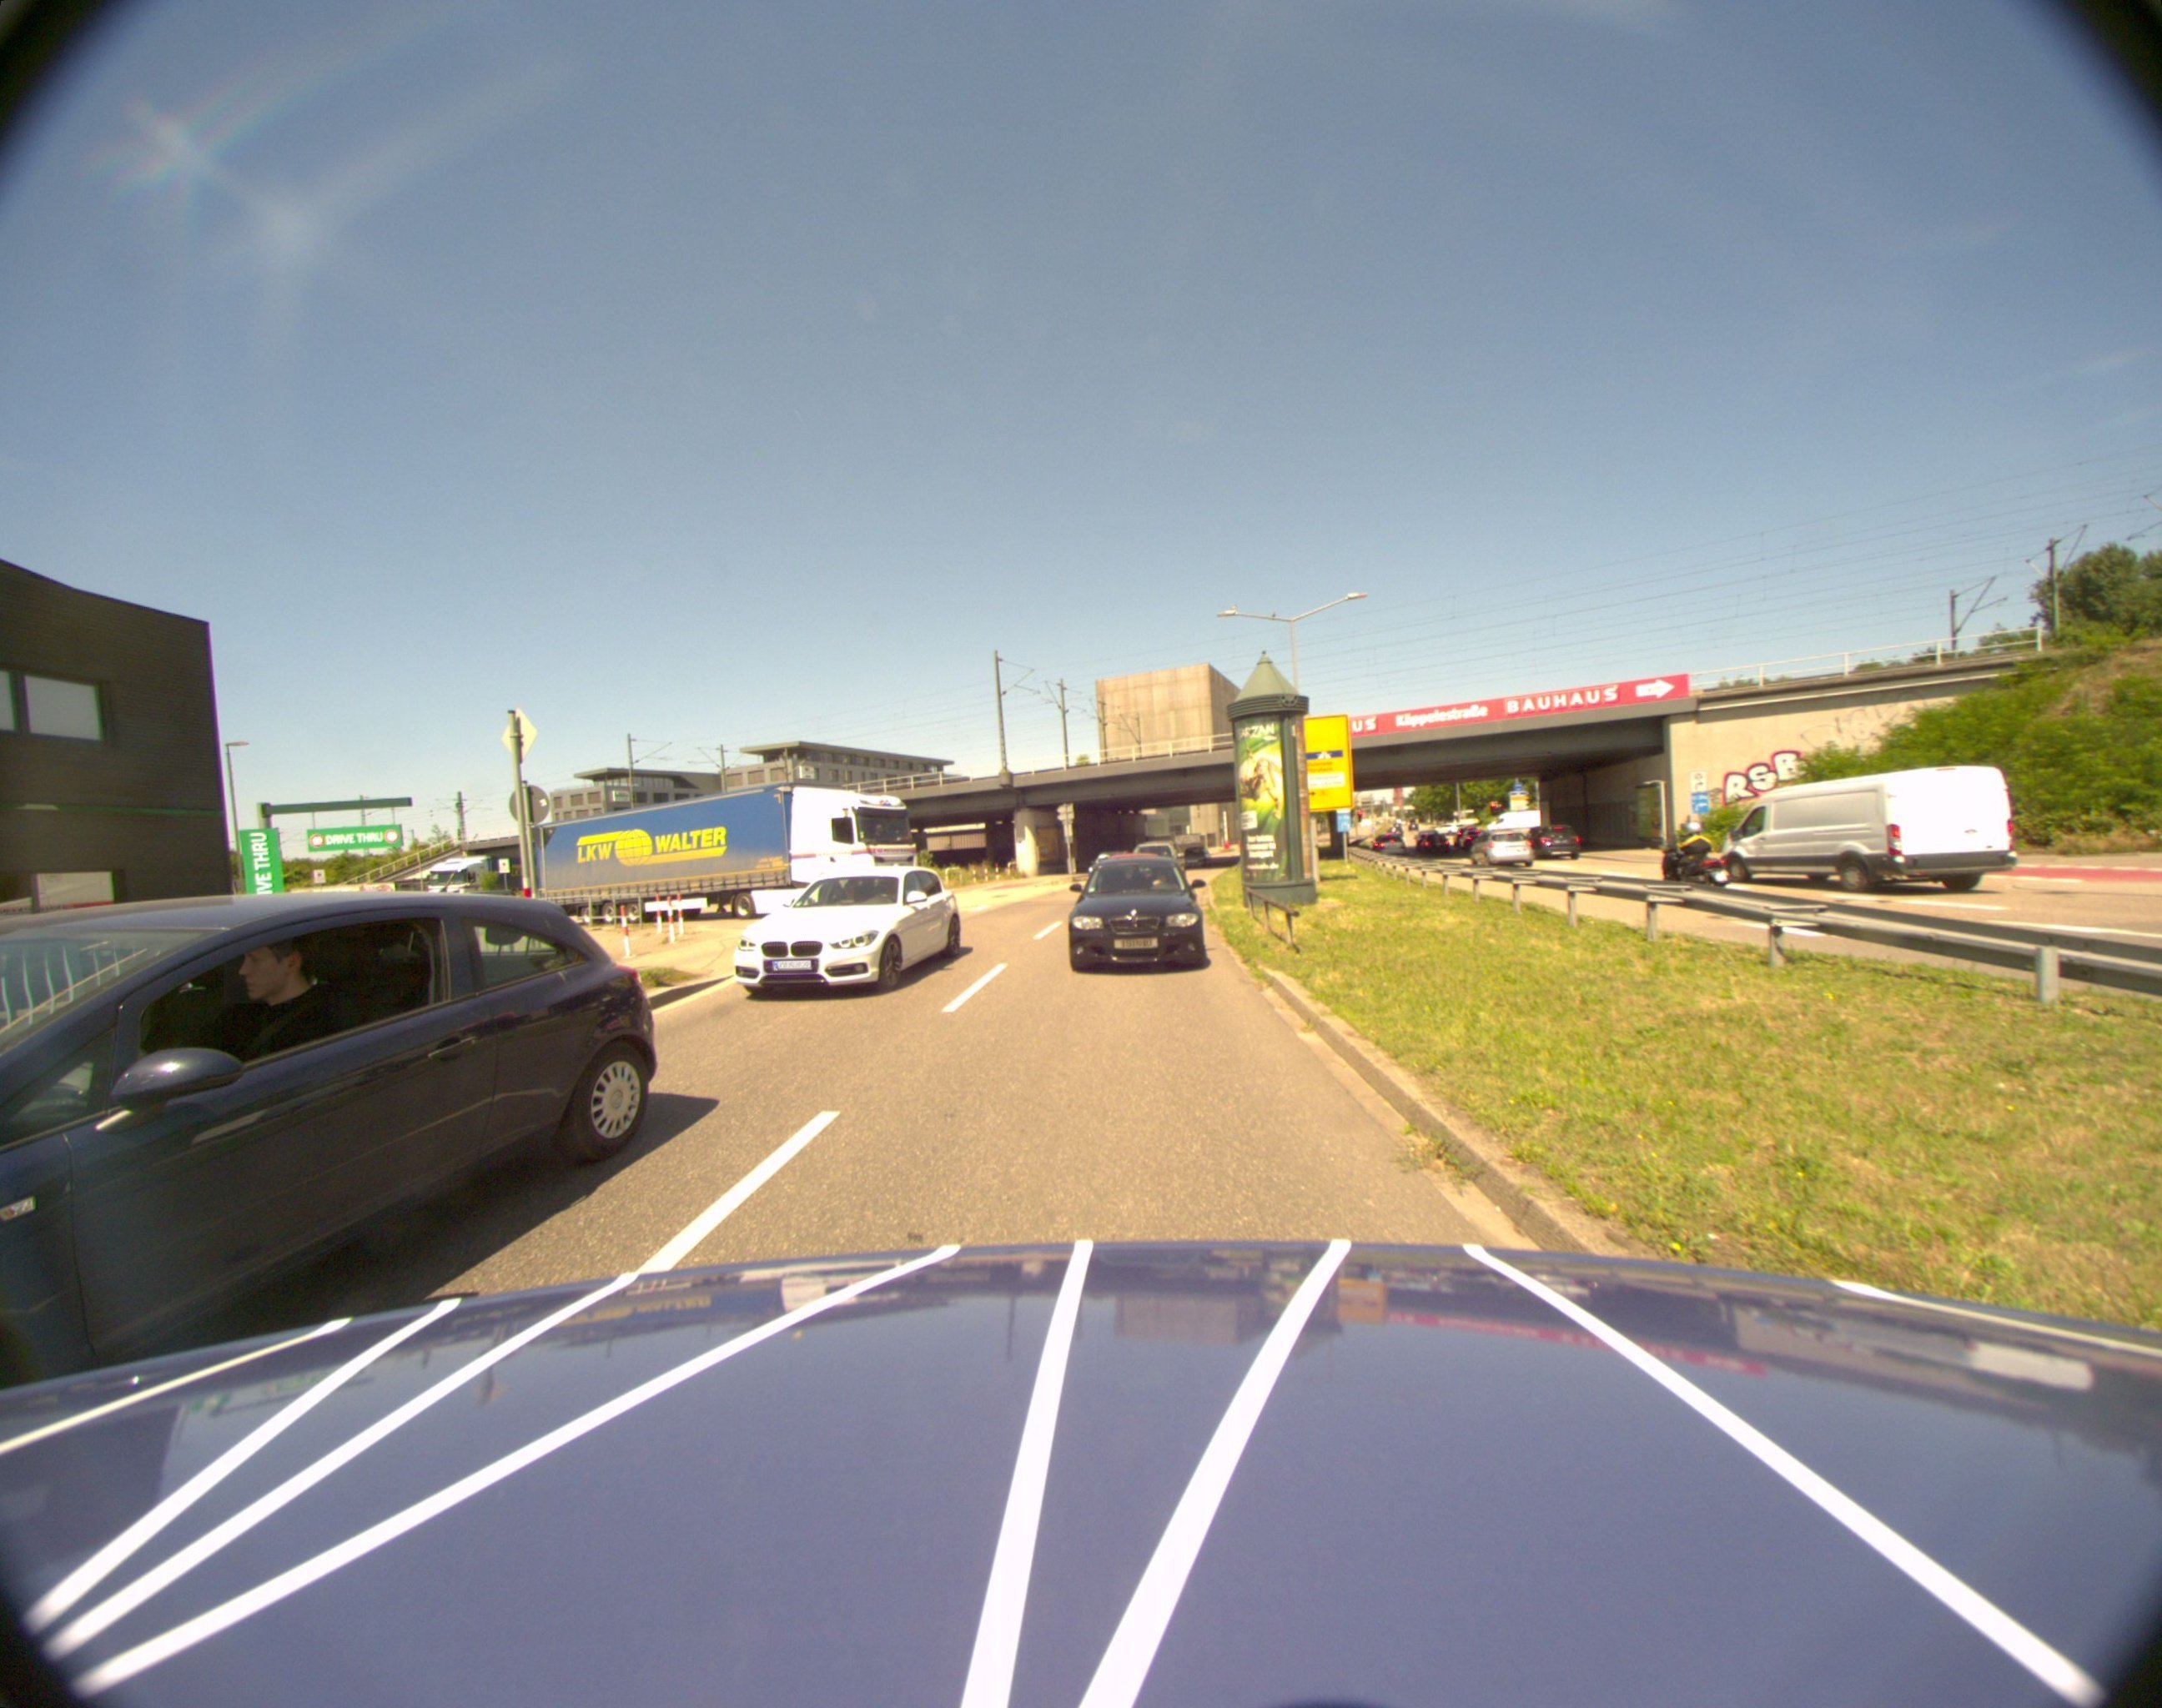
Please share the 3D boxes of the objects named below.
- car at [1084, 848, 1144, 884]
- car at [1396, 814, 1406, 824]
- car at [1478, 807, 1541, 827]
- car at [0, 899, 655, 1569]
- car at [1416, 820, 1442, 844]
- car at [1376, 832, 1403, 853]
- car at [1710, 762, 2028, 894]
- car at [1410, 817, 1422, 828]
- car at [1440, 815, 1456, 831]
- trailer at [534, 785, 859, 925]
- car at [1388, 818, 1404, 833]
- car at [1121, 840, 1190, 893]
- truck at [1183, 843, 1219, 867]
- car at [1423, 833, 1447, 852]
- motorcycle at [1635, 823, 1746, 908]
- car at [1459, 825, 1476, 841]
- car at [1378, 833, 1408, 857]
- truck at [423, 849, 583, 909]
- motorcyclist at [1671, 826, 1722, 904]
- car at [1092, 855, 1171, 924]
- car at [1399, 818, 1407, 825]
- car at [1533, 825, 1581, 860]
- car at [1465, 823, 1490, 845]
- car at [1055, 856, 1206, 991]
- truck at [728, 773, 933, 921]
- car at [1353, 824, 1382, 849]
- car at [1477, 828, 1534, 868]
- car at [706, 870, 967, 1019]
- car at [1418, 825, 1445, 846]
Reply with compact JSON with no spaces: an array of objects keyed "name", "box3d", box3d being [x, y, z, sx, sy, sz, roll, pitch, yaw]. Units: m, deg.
[{"name":"car","box3d":[1.589,0.517,34.892,1.714,1.434,4.004,-2,1,18]},{"name":"car","box3d":[68.871,-7.597,163.480,1.836,2.002,4.005,-2,1,21]},{"name":"car","box3d":[52.163,-4.456,92.545,6.365,2.091,2.004,-2,1,38]},{"name":"car","box3d":[-3.391,1.018,2.437,1.650,1.436,3.891,-3,0,3]},{"name":"car","box3d":[29.367,-1.859,64.136,1.904,1.849,4.006,-2,1,24]},{"name":"car","box3d":[21.709,-0.819,53.458,1.409,1.312,3.266,-2,1,27]},{"name":"car","box3d":[17.695,-0.466,17.678,2.098,2.485,5.815,-2,-1,11]},{"name":"car","box3d":[61.852,-5.802,140.219,1.836,2.002,4.005,-2,1,21]},{"name":"car","box3d":[48.506,-4.133,100.487,1.704,2.002,4.005,-2,1,23]},{"name":"trailer","box3d":[-14.149,0.297,27.096,13.872,4.067,2.504,-3,1,28]},{"name":"car","box3d":[43.590,-3.958,105.183,1.995,2.002,4.005,-2,1,23]},{"name":"car","box3d":[2.786,0.410,27.611,1.844,1.686,3.703,-3,1,15]},{"name":"truck","box3d":[8.665,0.027,54.514,1.728,1.493,4.005,-2,1,20]},{"name":"car","box3d":[24.595,-0.812,52.763,1.268,1.178,2.782,-2,1,28]},{"name":"motorcycle","box3d":[13.070,0.212,16.393,0.599,1.668,2.426,-3,1,6]},{"name":"car","box3d":[31.963,-1.768,62.825,1.183,1.241,2.696,-2,1,28]},{"name":"car","box3d":[19.634,-0.597,47.897,1.636,1.395,4.227,-1,1,21]},{"name":"truck","box3d":[-46.622,1.742,62.531,2.753,4.079,17.423,-3,1,-10]},{"name":"motorcyclist","box3d":[13.057,0.229,16.123,0.588,1.617,0.563,-3,1,6]},{"name":"car","box3d":[1.241,0.758,18.128,1.646,1.391,4.053,-1,1,5]},{"name":"car","box3d":[91.243,-9.159,215.222,1.995,2.002,4.005,-2,1,23]},{"name":"car","box3d":[23.044,-0.580,36.859,1.516,1.533,3.685,-2,1,25]},{"name":"car","box3d":[29.498,-1.522,56.518,1.571,1.494,3.412,-2,1,28]},{"name":"car","box3d":[0.815,0.829,10.830,1.680,1.409,4.057,-3,1,7]},{"name":"truck","box3d":[-7.924,-0.124,23.950,5.748,4.078,2.580,-4,1,28]},{"name":"car","box3d":[23.116,-1.461,61.219,1.904,1.849,4.006,-2,1,24]},{"name":"car","box3d":[18.080,-0.267,32.495,1.636,1.558,4.079,-2,0,23]},{"name":"car","box3d":[-2.912,1.006,10.087,1.762,1.435,4.054,-1,1,6]},{"name":"car","box3d":[26.859,-1.406,58.119,1.616,1.468,3.438,-2,1,28]}]
